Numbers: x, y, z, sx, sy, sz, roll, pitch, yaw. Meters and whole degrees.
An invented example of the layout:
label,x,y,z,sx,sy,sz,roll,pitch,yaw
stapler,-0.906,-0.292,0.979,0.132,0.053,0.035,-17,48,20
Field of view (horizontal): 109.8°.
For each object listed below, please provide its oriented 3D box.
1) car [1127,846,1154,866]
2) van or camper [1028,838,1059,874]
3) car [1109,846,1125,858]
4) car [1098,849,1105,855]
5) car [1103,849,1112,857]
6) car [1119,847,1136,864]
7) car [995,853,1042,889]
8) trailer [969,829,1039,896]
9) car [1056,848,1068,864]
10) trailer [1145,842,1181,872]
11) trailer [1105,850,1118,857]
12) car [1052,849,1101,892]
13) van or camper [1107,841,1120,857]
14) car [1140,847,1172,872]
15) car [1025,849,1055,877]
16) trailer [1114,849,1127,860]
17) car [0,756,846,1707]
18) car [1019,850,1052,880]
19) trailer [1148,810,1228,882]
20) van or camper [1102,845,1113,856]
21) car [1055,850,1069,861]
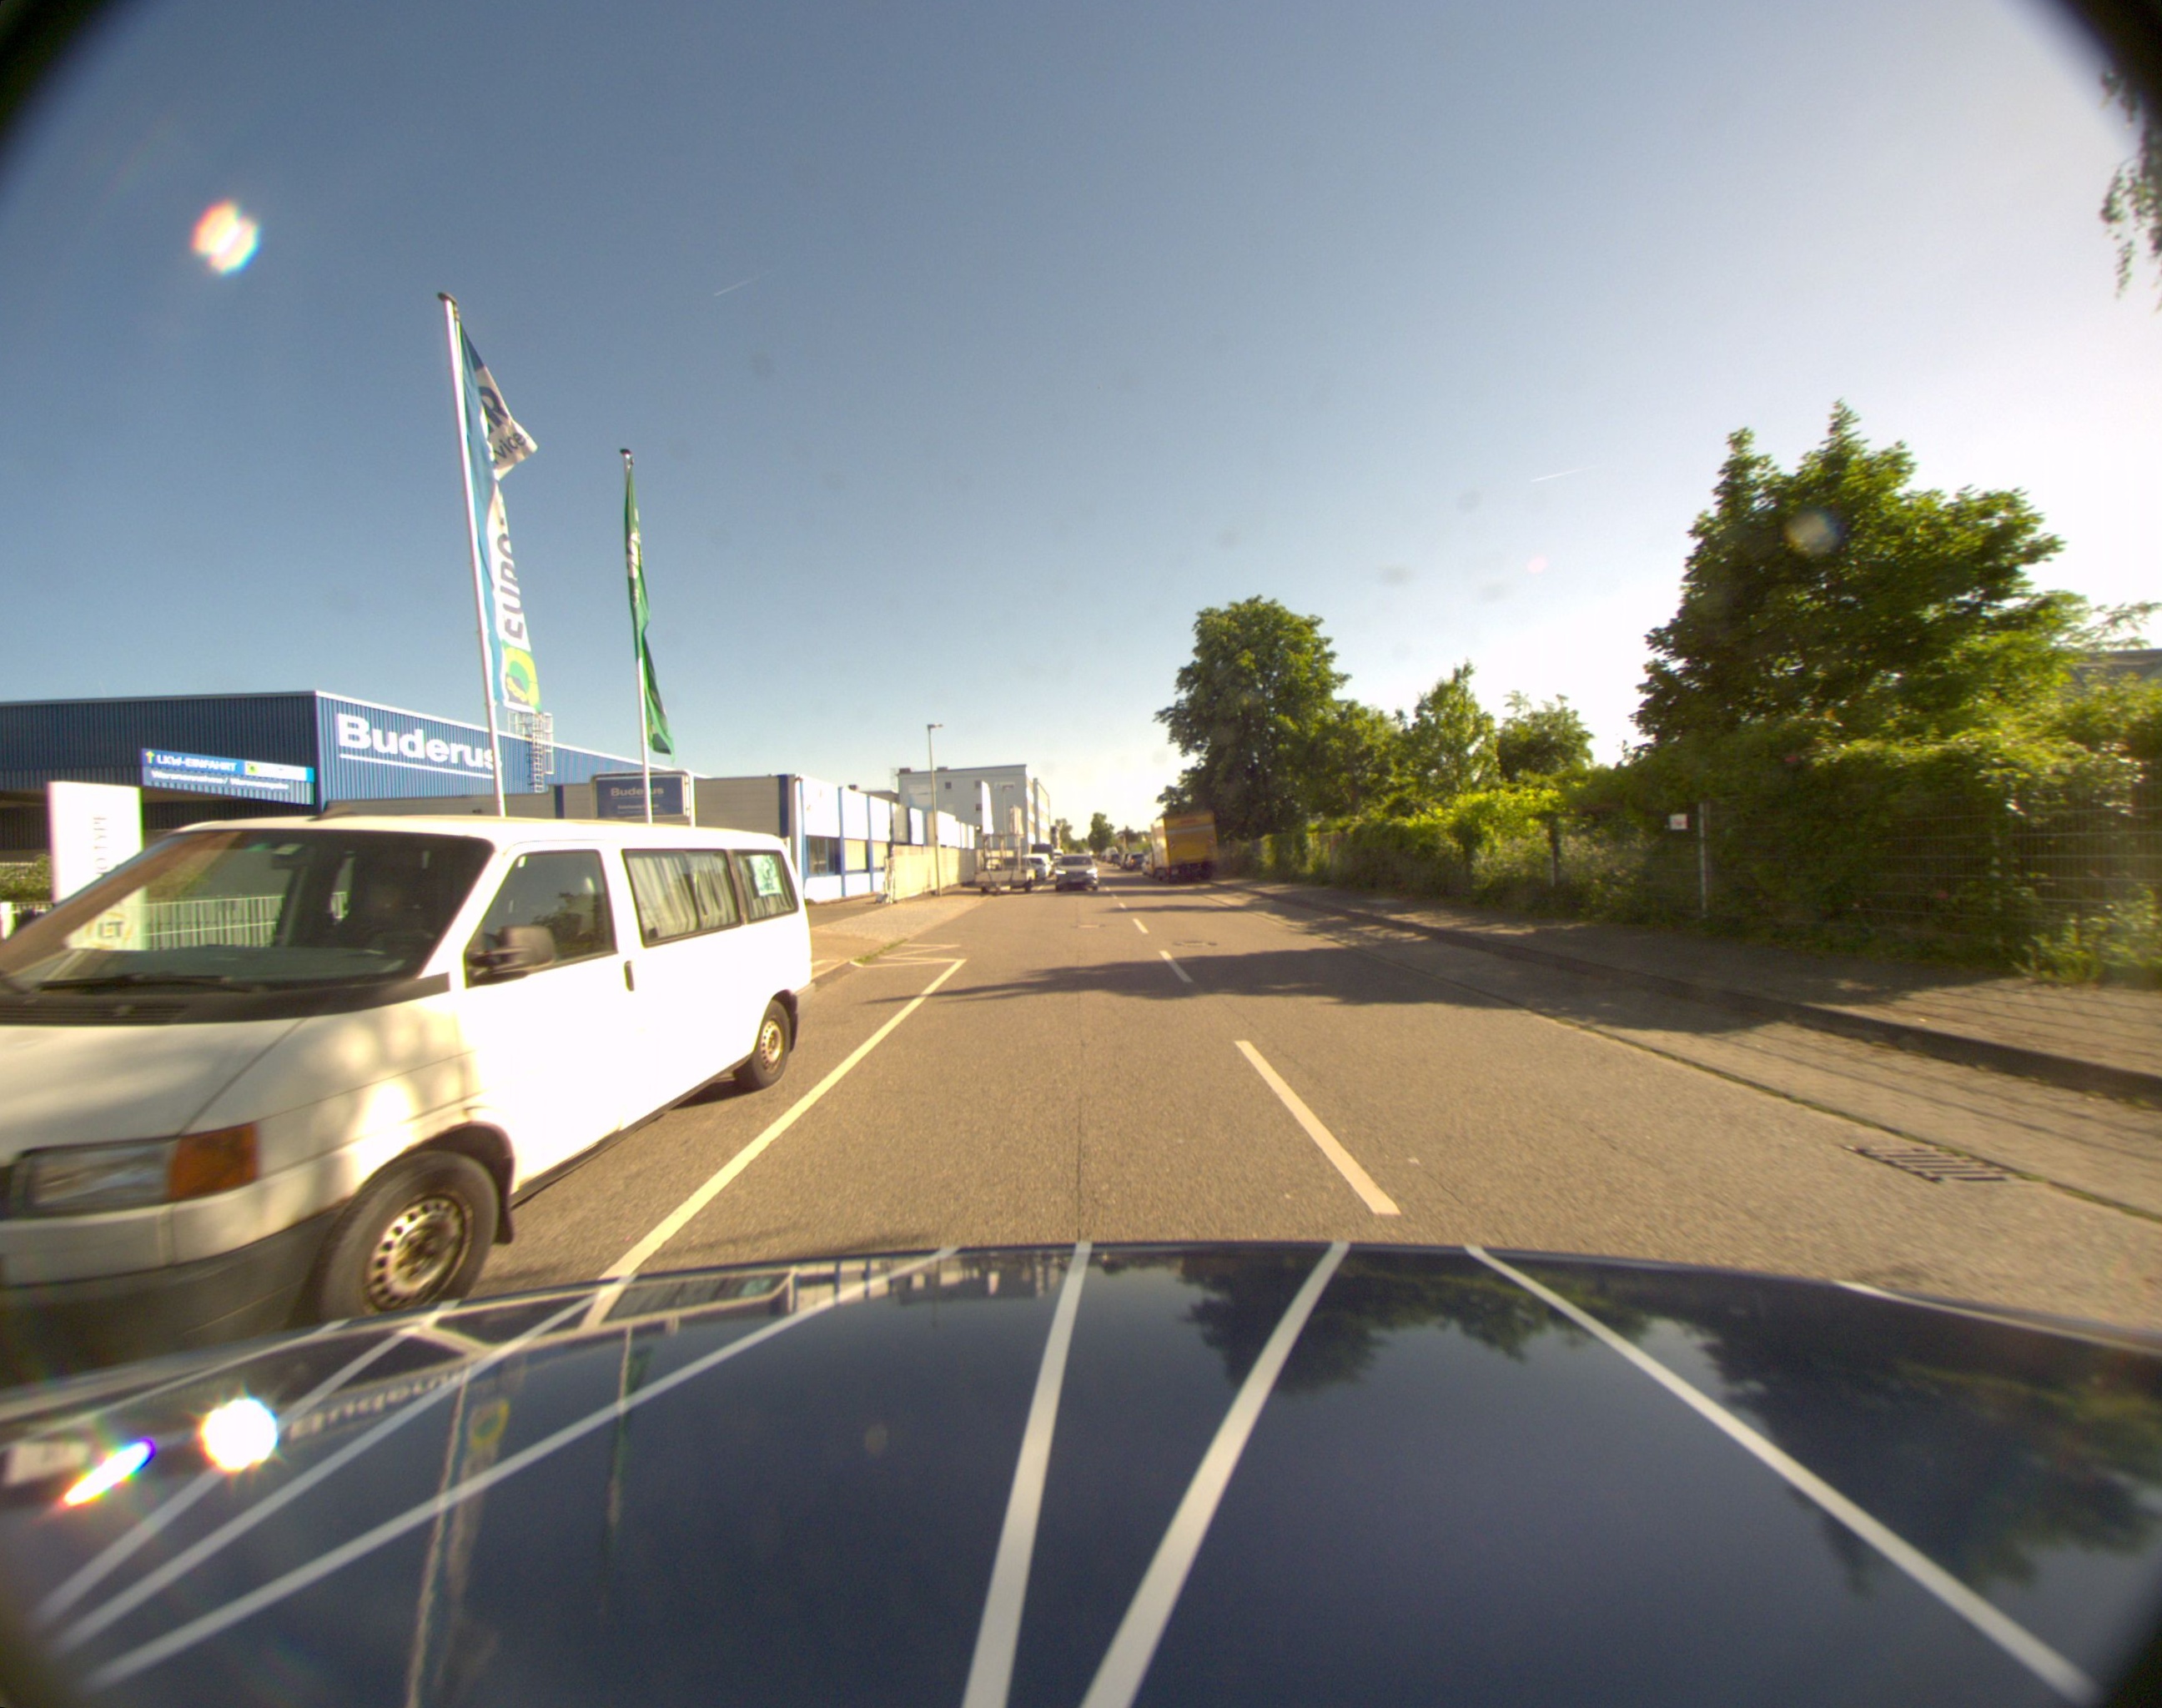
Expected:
label,x,y,z,sx,sy,sz,roll,pitch,yaw
car,5.557,0.197,71.768,1.913,1.653,4.462,-6,0,-2
van or camper,-3.094,0.107,64.184,2.146,2.744,6.160,-4,1,0
car,5.710,-0.362,121.860,2.035,1.684,5.106,-6,0,-1
car,6.933,-0.828,255.964,1.779,1.838,4.616,-4,0,4
car,5.988,-0.274,173.073,1.804,1.501,5.002,-6,0,1
car,5.099,0.124,82.677,1.795,1.721,4.802,-3,1,4
car,-3.310,0.855,41.226,1.999,1.658,4.730,-4,1,0
trailer,-3.342,0.320,34.163,2.466,2.657,5.700,-2,1,0
car,-3.192,0.302,127.416,1.999,2.582,6.050,0,-1,-1
trailer,5.617,0.206,52.468,1.998,1.930,4.414,-2,1,0
trailer,6.152,-0.126,153.755,2.382,1.073,6.245,-6,0,0
car,-0.183,0.678,34.378,1.998,1.750,5.015,-2,0,0
van or camper,5.709,-0.859,134.708,1.971,2.669,5.948,-7,0,2
car,5.730,0.383,58.397,1.913,1.584,5.024,-6,0,1
car,-3.075,0.645,58.201,1.890,1.836,5.103,-4,1,0
trailer,5.190,0.058,100.642,1.480,1.346,3.078,-4,1,0
car,-3.106,0.815,4.118,1.879,2.002,5.159,-4,1,1
car,-3.118,0.704,52.959,1.860,1.820,5.167,-4,1,0
trailer,5.621,-0.424,41.386,2.999,3.423,8.159,-2,1,-1
van or camper,6.413,-0.804,183.896,2.076,2.534,6.403,-6,0,0
car,-2.911,0.172,114.976,1.899,1.397,5.123,-4,1,0
